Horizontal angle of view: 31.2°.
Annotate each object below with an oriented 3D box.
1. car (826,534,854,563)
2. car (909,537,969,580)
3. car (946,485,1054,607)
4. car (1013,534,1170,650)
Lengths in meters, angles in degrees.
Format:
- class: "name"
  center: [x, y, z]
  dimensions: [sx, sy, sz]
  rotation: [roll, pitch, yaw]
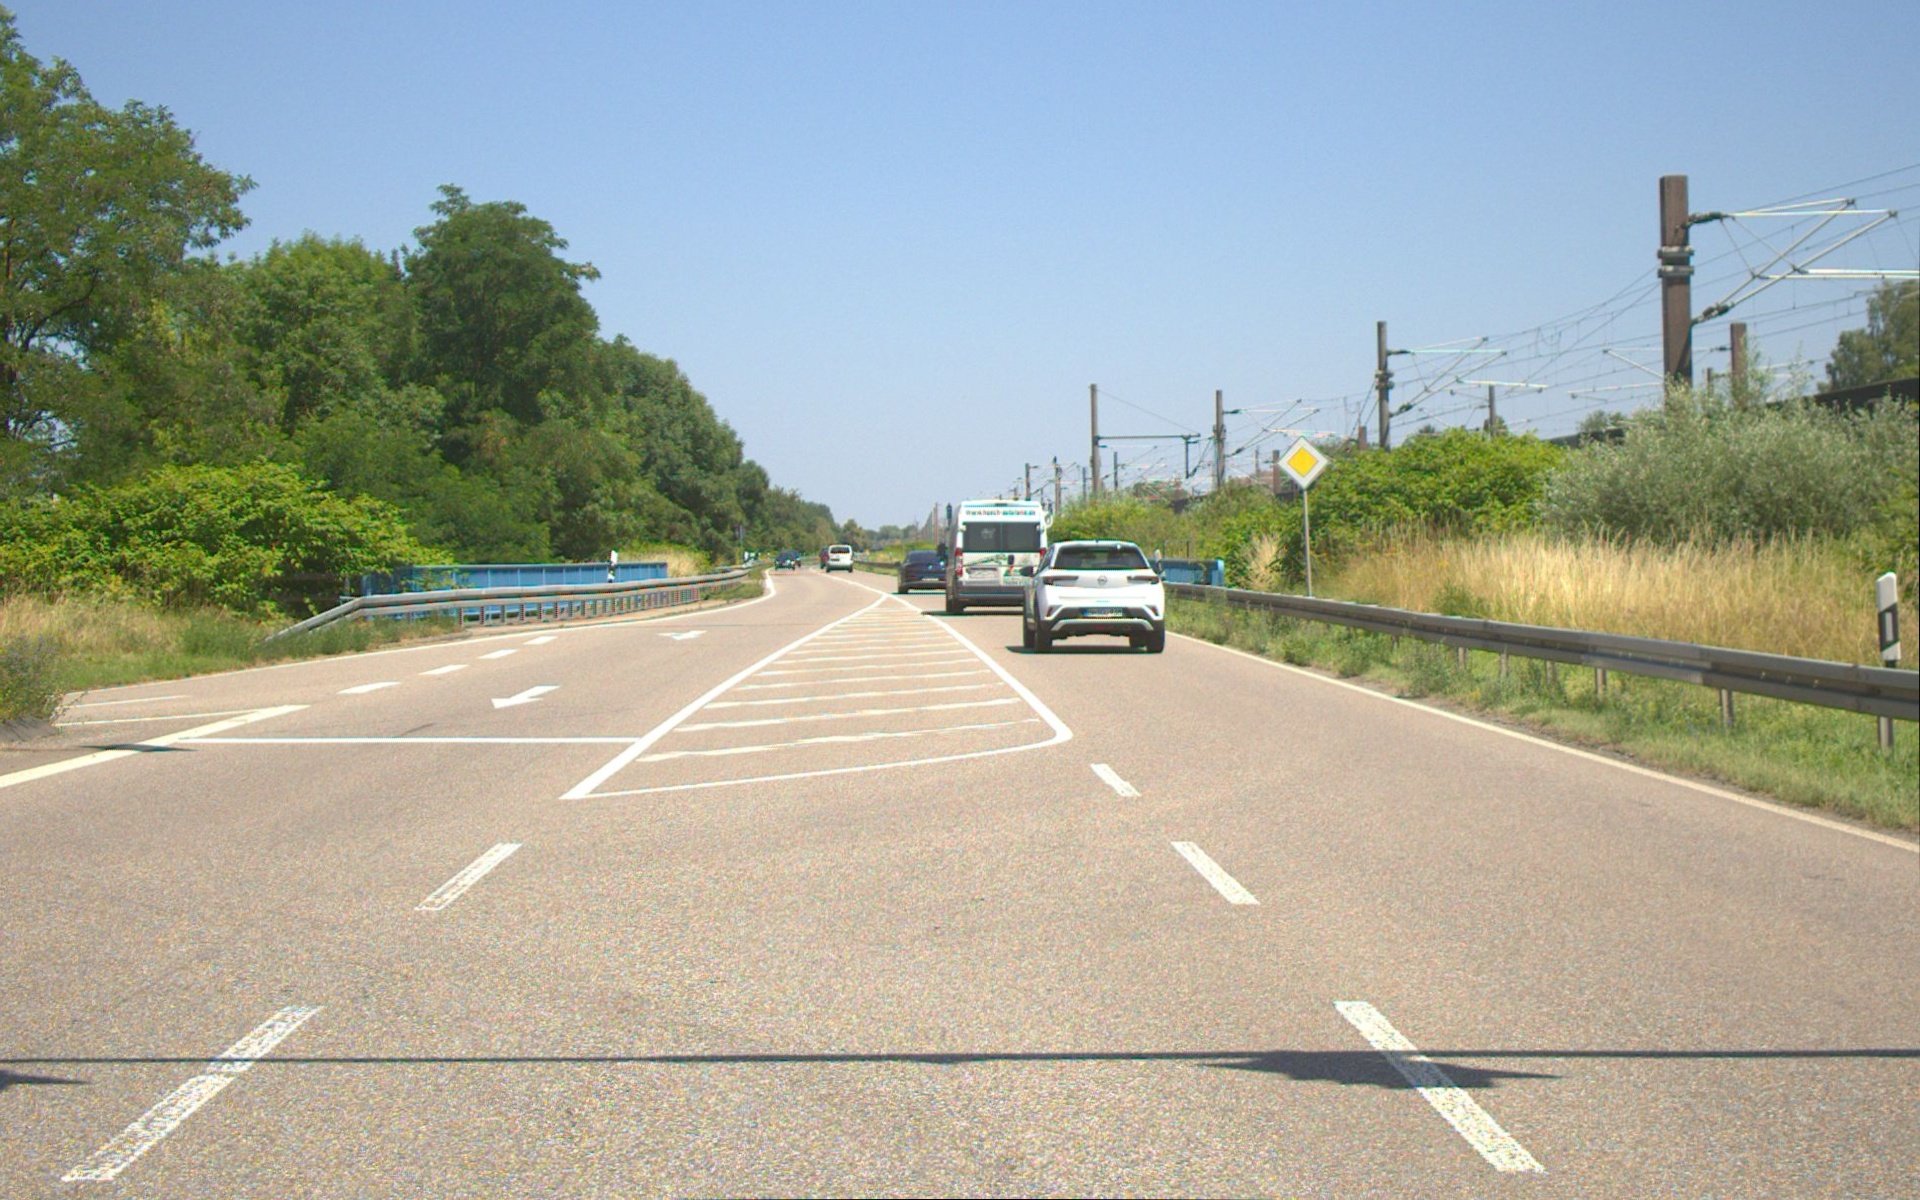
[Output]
- class: "car"
  center: [-8.567, -3.667, 245.138]
  dimensions: [1.993, 1.977, 4.060]
  rotation: [1, 1, -2]
- class: "car"
  center: [-0.704, -1.375, 112.783]
  dimensions: [1.856, 1.375, 4.504]
  rotation: [1, 1, -2]
- class: "car"
  center: [0.847, -1.219, 77.190]
  dimensions: [2.188, 2.595, 6.751]
  rotation: [1, 1, -1]
- class: "car"
  center: [1.802, -0.147, 48.352]
  dimensions: [1.817, 1.558, 4.279]
  rotation: [0, 1, -3]
